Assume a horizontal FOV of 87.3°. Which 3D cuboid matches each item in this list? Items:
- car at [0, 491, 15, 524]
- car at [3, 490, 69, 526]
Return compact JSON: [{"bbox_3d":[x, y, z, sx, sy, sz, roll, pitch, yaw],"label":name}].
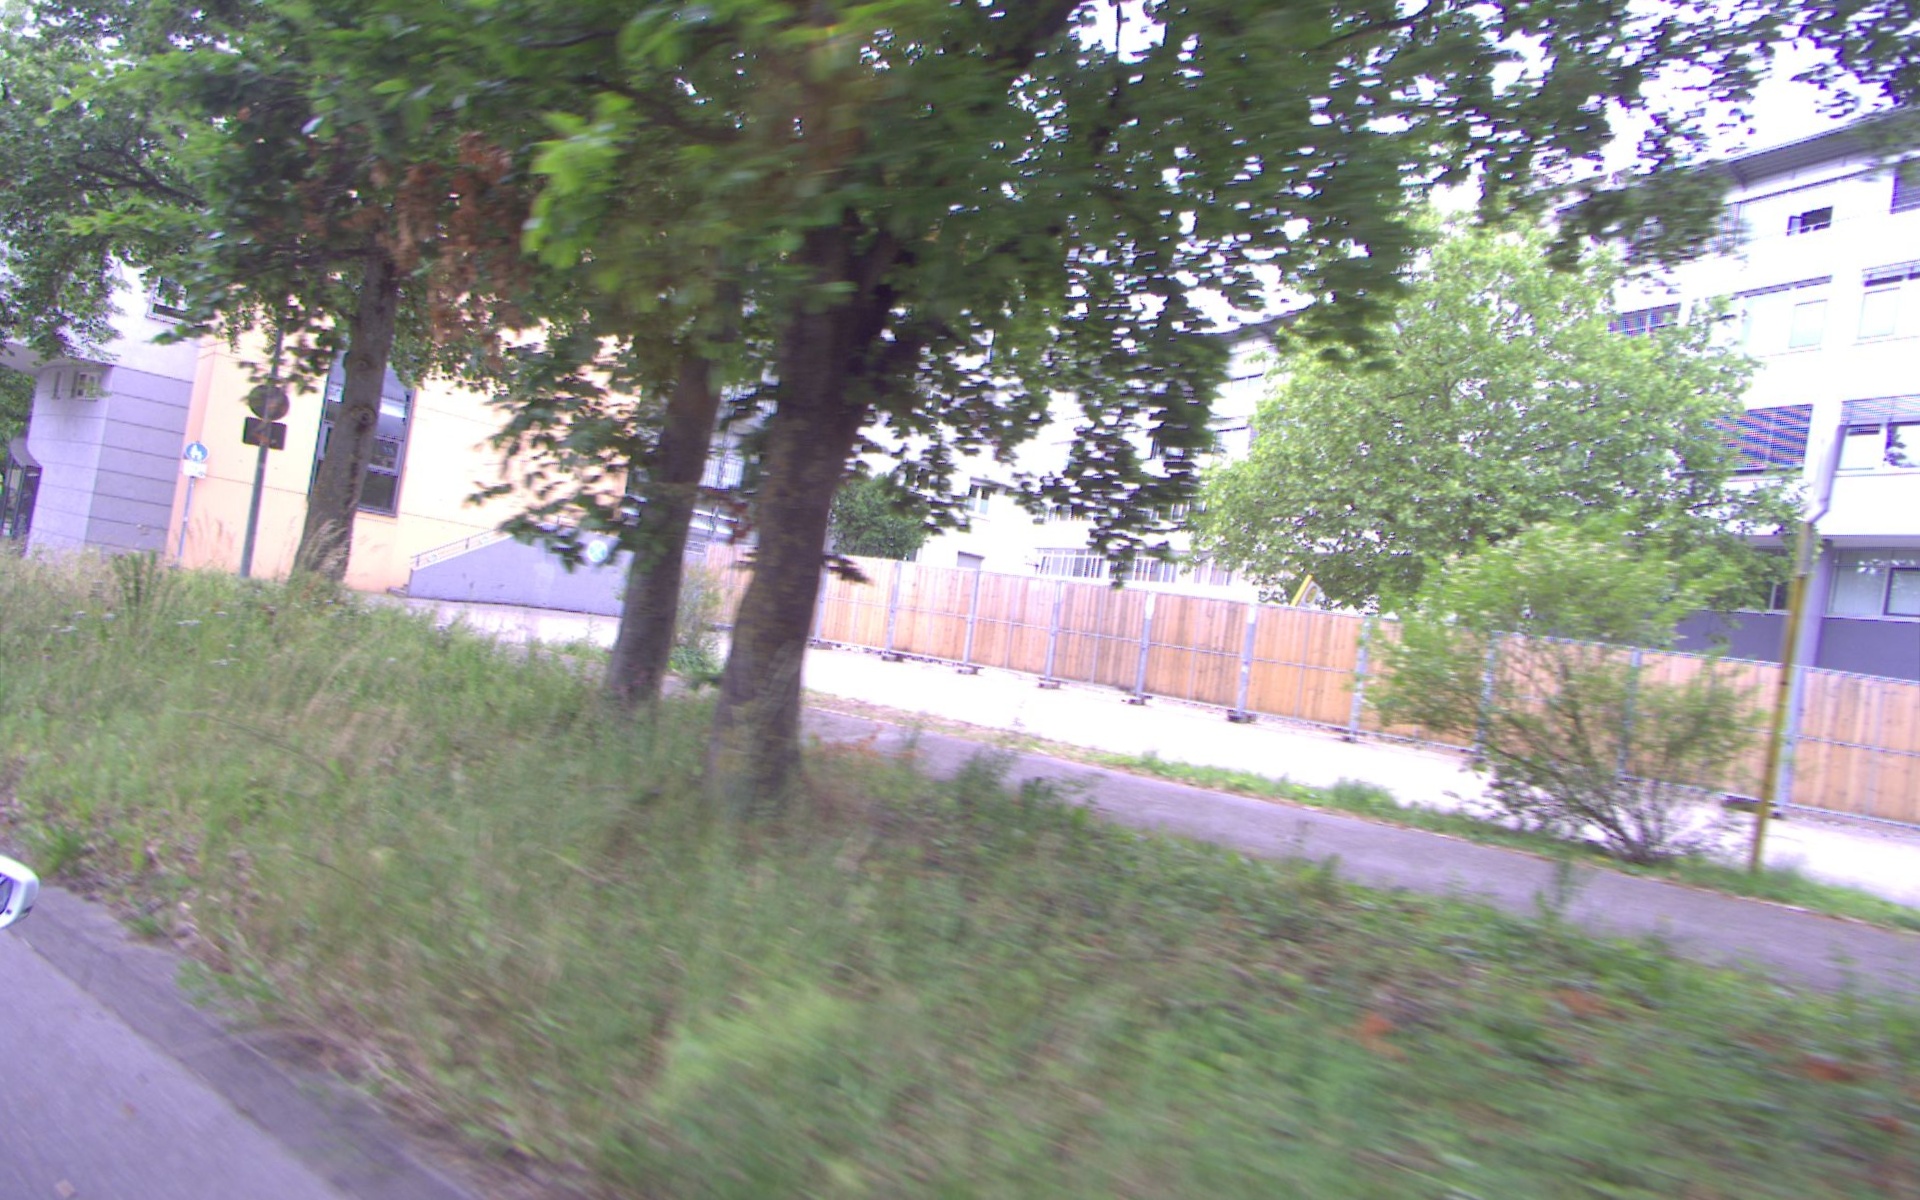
[{"bbox_3d":[-49.628,-4.905,50.709,1.864,1.584,3.988,12,-4,-31],"label":"car"},{"bbox_3d":[-55.168,-5.448,60.151,1.767,1.614,4.217,11,-4,-29],"label":"car"}]
